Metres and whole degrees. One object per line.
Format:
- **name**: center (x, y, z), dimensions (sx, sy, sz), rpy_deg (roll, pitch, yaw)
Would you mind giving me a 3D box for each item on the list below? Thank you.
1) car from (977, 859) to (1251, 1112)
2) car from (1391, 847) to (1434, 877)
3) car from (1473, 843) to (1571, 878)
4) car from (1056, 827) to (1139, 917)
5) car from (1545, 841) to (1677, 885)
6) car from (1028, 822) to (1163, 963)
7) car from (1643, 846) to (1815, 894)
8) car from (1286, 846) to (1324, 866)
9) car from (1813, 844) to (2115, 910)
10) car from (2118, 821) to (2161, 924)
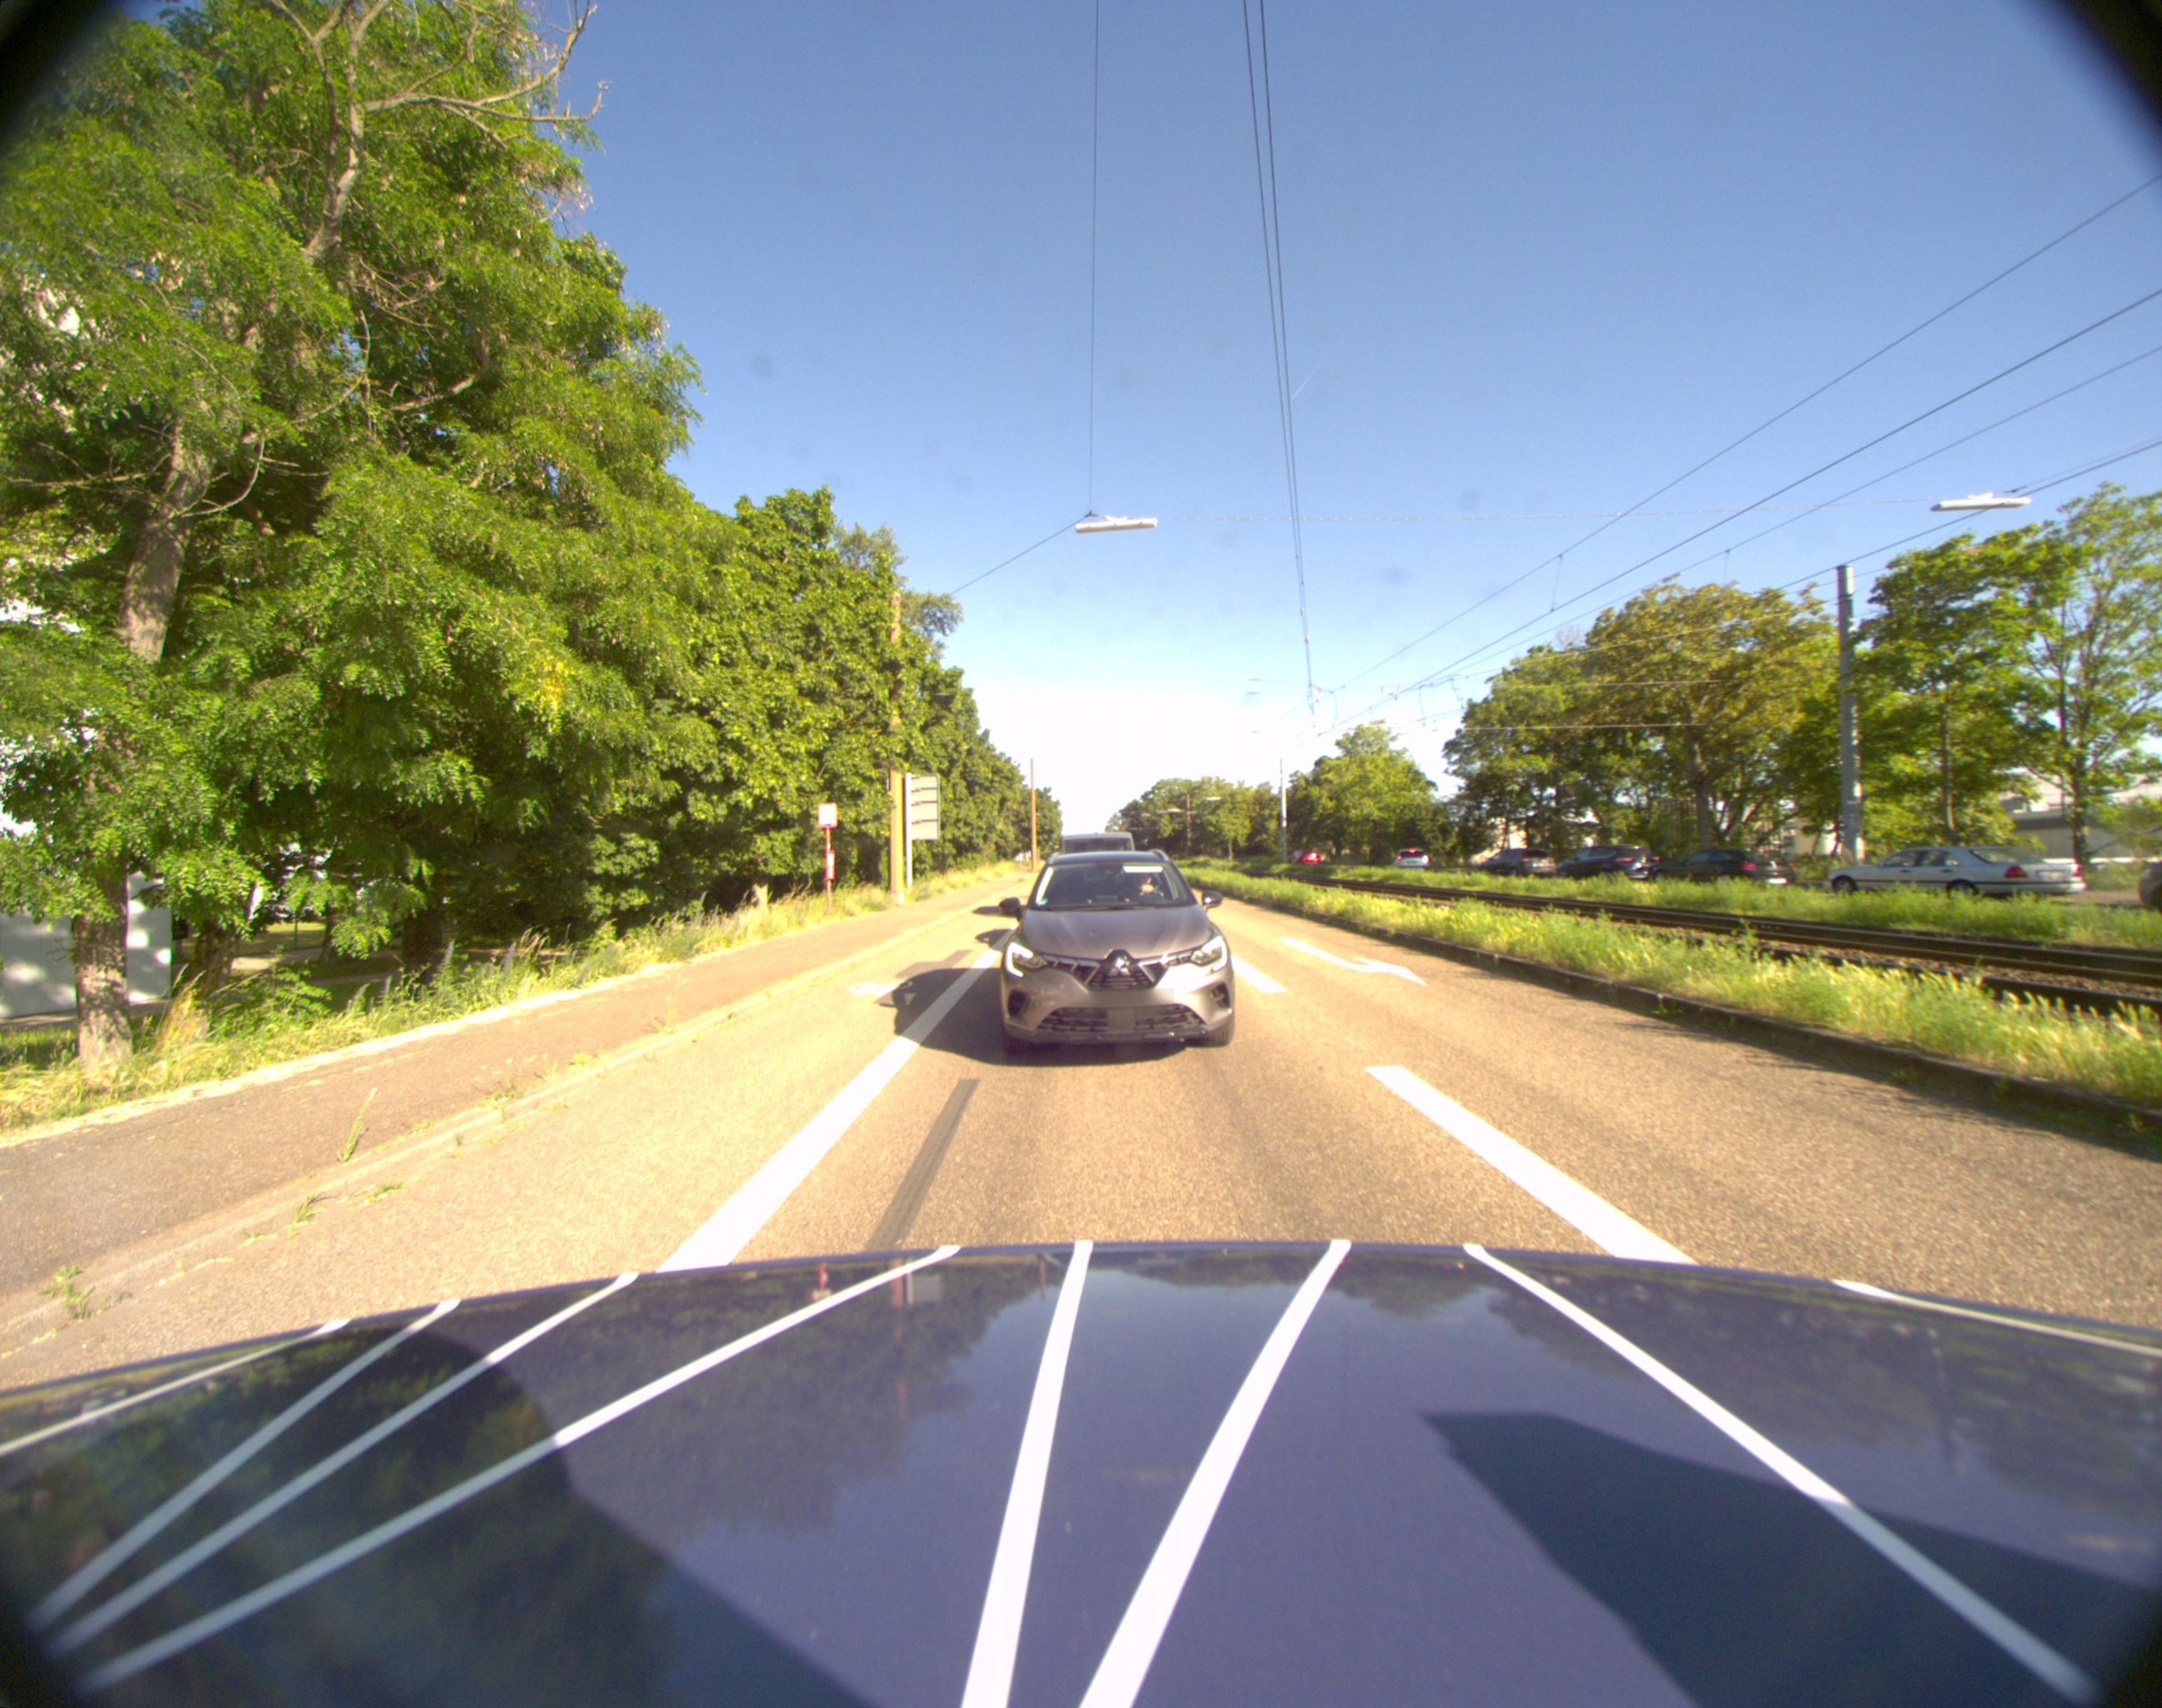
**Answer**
- **car**: center (0.182, 0.885, 7.313), dimensions (1.796, 1.583, 4.529), rpy_deg (-1, 0, -1)
- **car**: center (18.514, 0.438, 42.567), dimensions (1.857, 1.548, 4.162), rpy_deg (-2, 0, 19)
- **car**: center (21.567, 0.332, 37.403), dimensions (2.130, 1.554, 4.560), rpy_deg (-2, 0, 0)
- **car**: center (0.357, 0.481, 21.111), dimensions (1.999, 2.198, 4.786), rpy_deg (-1, -1, -1)
- **car**: center (21.309, 0.348, 30.820), dimensions (2.130, 1.578, 4.616), rpy_deg (-2, 0, 1)
- **car**: center (0.249, 0.595, 13.617), dimensions (1.998, 2.113, 4.000), rpy_deg (-2, 0, 1)
- **car**: center (21.347, 0.494, 25.324), dimensions (1.960, 1.417, 4.488), rpy_deg (-2, 0, 1)
- **car**: center (21.004, 0.192, 71.462), dimensions (2.321, 1.723, 4.798), rpy_deg (-2, 0, 3)
- **car**: center (21.547, 0.511, 18.930), dimensions (2.130, 1.372, 4.616), rpy_deg (-2, 0, -1)
- **car**: center (21.235, 0.301, 12.424), dimensions (2.207, 1.923, 4.685), rpy_deg (-2, 0, 2)
